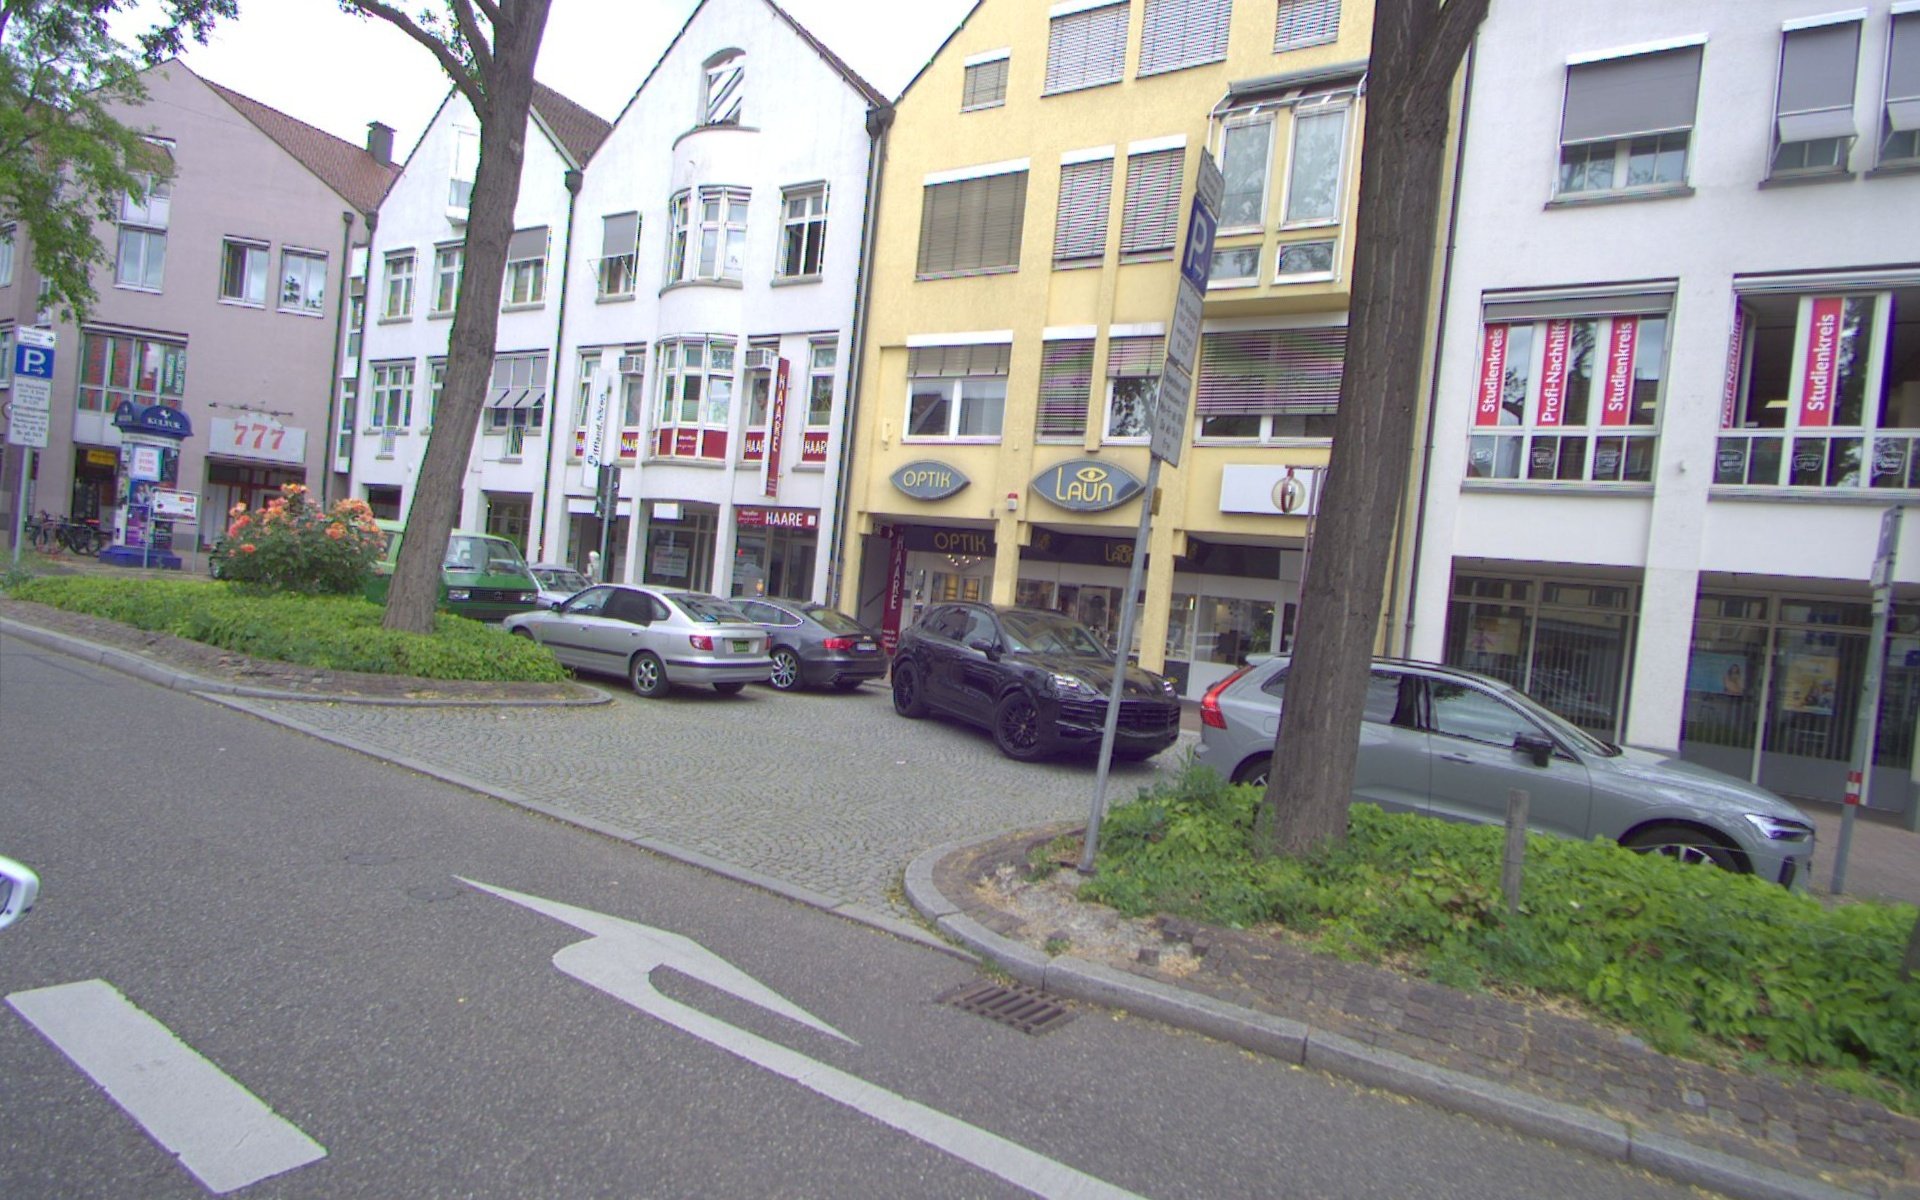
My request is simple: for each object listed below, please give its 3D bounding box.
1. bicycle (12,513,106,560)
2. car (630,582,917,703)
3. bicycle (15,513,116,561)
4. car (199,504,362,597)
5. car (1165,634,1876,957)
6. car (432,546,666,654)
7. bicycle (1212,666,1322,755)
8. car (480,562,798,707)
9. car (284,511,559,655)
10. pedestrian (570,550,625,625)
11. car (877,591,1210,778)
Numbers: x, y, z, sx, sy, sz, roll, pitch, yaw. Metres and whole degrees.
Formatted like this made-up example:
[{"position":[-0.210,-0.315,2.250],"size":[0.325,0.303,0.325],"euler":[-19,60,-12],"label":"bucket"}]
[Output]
[{"position":[-24.253,-1.689,27.100],"size":[0.440,1.009,1.769],"euler":[7,0,36],"label":"bicycle"},{"position":[-3.136,0.656,16.696],"size":[4.344,1.394,1.999],"euler":[7,1,30],"label":"car"},{"position":[-23.803,-1.659,26.805],"size":[0.460,1.009,1.901],"euler":[7,0,36],"label":"bicycle"},{"position":[-16.983,-1.232,25.116],"size":[3.898,1.855,1.639],"euler":[7,1,28],"label":"car"},{"position":[4.415,1.400,8.689],"size":[4.682,1.615,1.997],"euler":[7,0,29],"label":"car"},{"position":[-7.916,-0.021,19.274],"size":[4.320,1.562,1.797],"euler":[7,1,30],"label":"car"},{"position":[4.375,1.554,14.375],"size":[1.356,1.058,0.392],"euler":[7,1,32],"label":"bicycle"},{"position":[-4.629,0.445,14.352],"size":[4.344,1.468,1.765],"euler":[7,0,30],"label":"car"},{"position":[-9.095,-0.304,16.887],"size":[4.528,1.900,1.882],"euler":[7,1,30],"label":"car"},{"position":[-8.562,-0.284,23.788],"size":[0.805,1.682,0.789],"euler":[7,3,32],"label":"pedestrian"},{"position":[0.803,0.935,12.845],"size":[1.838,1.692,4.627],"euler":[5,1,-29],"label":"car"}]
